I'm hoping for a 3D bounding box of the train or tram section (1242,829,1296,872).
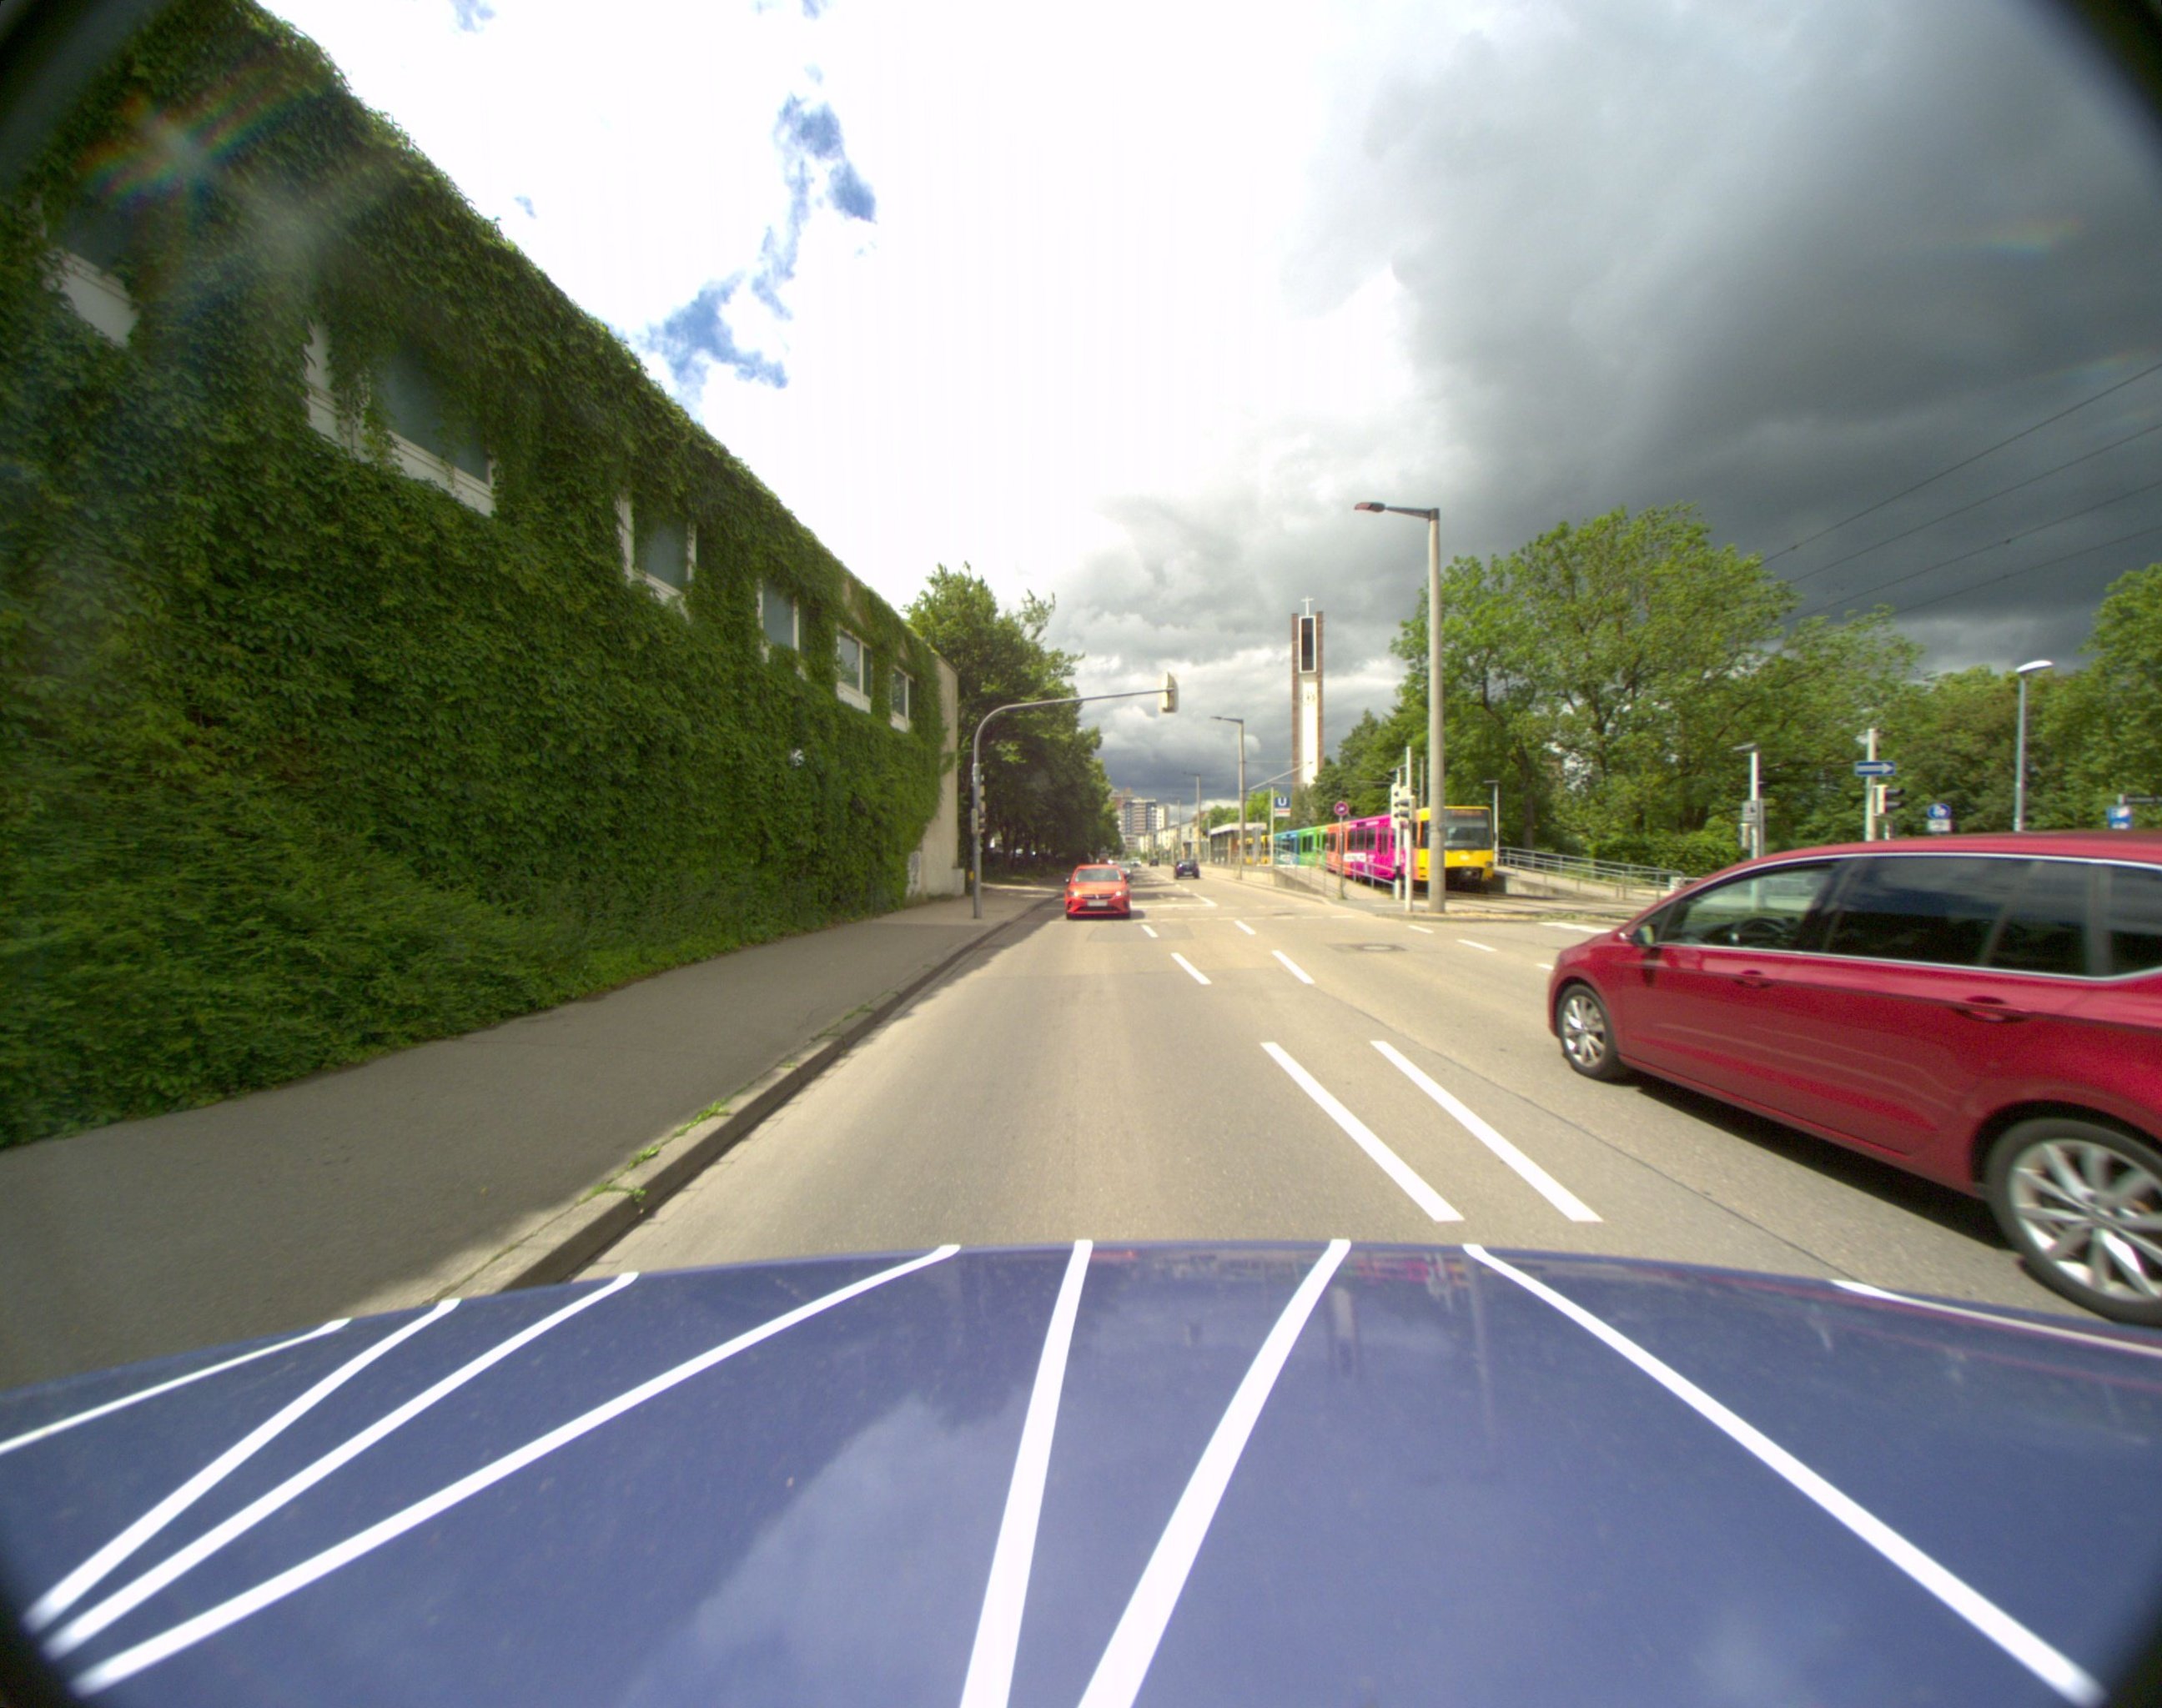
[{"bbox_3d":[18.403,-0.308,75.074,2.987,3.840,12.204,-2,0,4],"label":"train or tram section"}]

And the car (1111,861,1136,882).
[{"bbox_3d":[3.355,1.326,59.151,1.755,1.433,4.228,-1,0,6],"label":"car"}]

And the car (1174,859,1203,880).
[{"bbox_3d":[7.812,1.085,55.423,1.721,1.433,4.010,-1,0,3],"label":"car"}]

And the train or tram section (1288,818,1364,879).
[{"bbox_3d":[16.901,-0.357,53.070,2.987,3.840,8.380,-2,0,4],"label":"train or tram section"}]

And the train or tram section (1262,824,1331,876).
[{"bbox_3d":[17.622,-0.286,63.125,2.987,3.840,11.789,-2,0,4],"label":"train or tram section"}]

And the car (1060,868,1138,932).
[{"bbox_3d":[0.583,1.154,20.453,1.755,1.433,4.228,-1,0,6],"label":"car"}]

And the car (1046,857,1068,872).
[{"bbox_3d":[-2.550,1.123,82.406,1.655,1.533,3.679,-1,0,9],"label":"car"}]

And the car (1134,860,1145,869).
[{"bbox_3d":[10.614,1.917,138.035,1.821,1.433,4.009,-1,0,1],"label":"car"}]

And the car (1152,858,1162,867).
[{"bbox_3d":[13.616,1.522,136.961,1.755,1.603,4.228,-1,0,6],"label":"car"}]

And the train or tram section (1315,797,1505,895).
[{"bbox_3d":[15.987,-0.332,39.612,2.987,3.840,18.543,-2,0,4],"label":"train or tram section"}]

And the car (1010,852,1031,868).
[{"bbox_3d":[-6.005,0.535,75.916,1.756,1.533,4.226,-1,0,0],"label":"car"}]

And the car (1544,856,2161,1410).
[{"bbox_3d":[4.007,0.814,3.311,1.667,1.543,4.001,-2,0,3],"label":"car"}]
